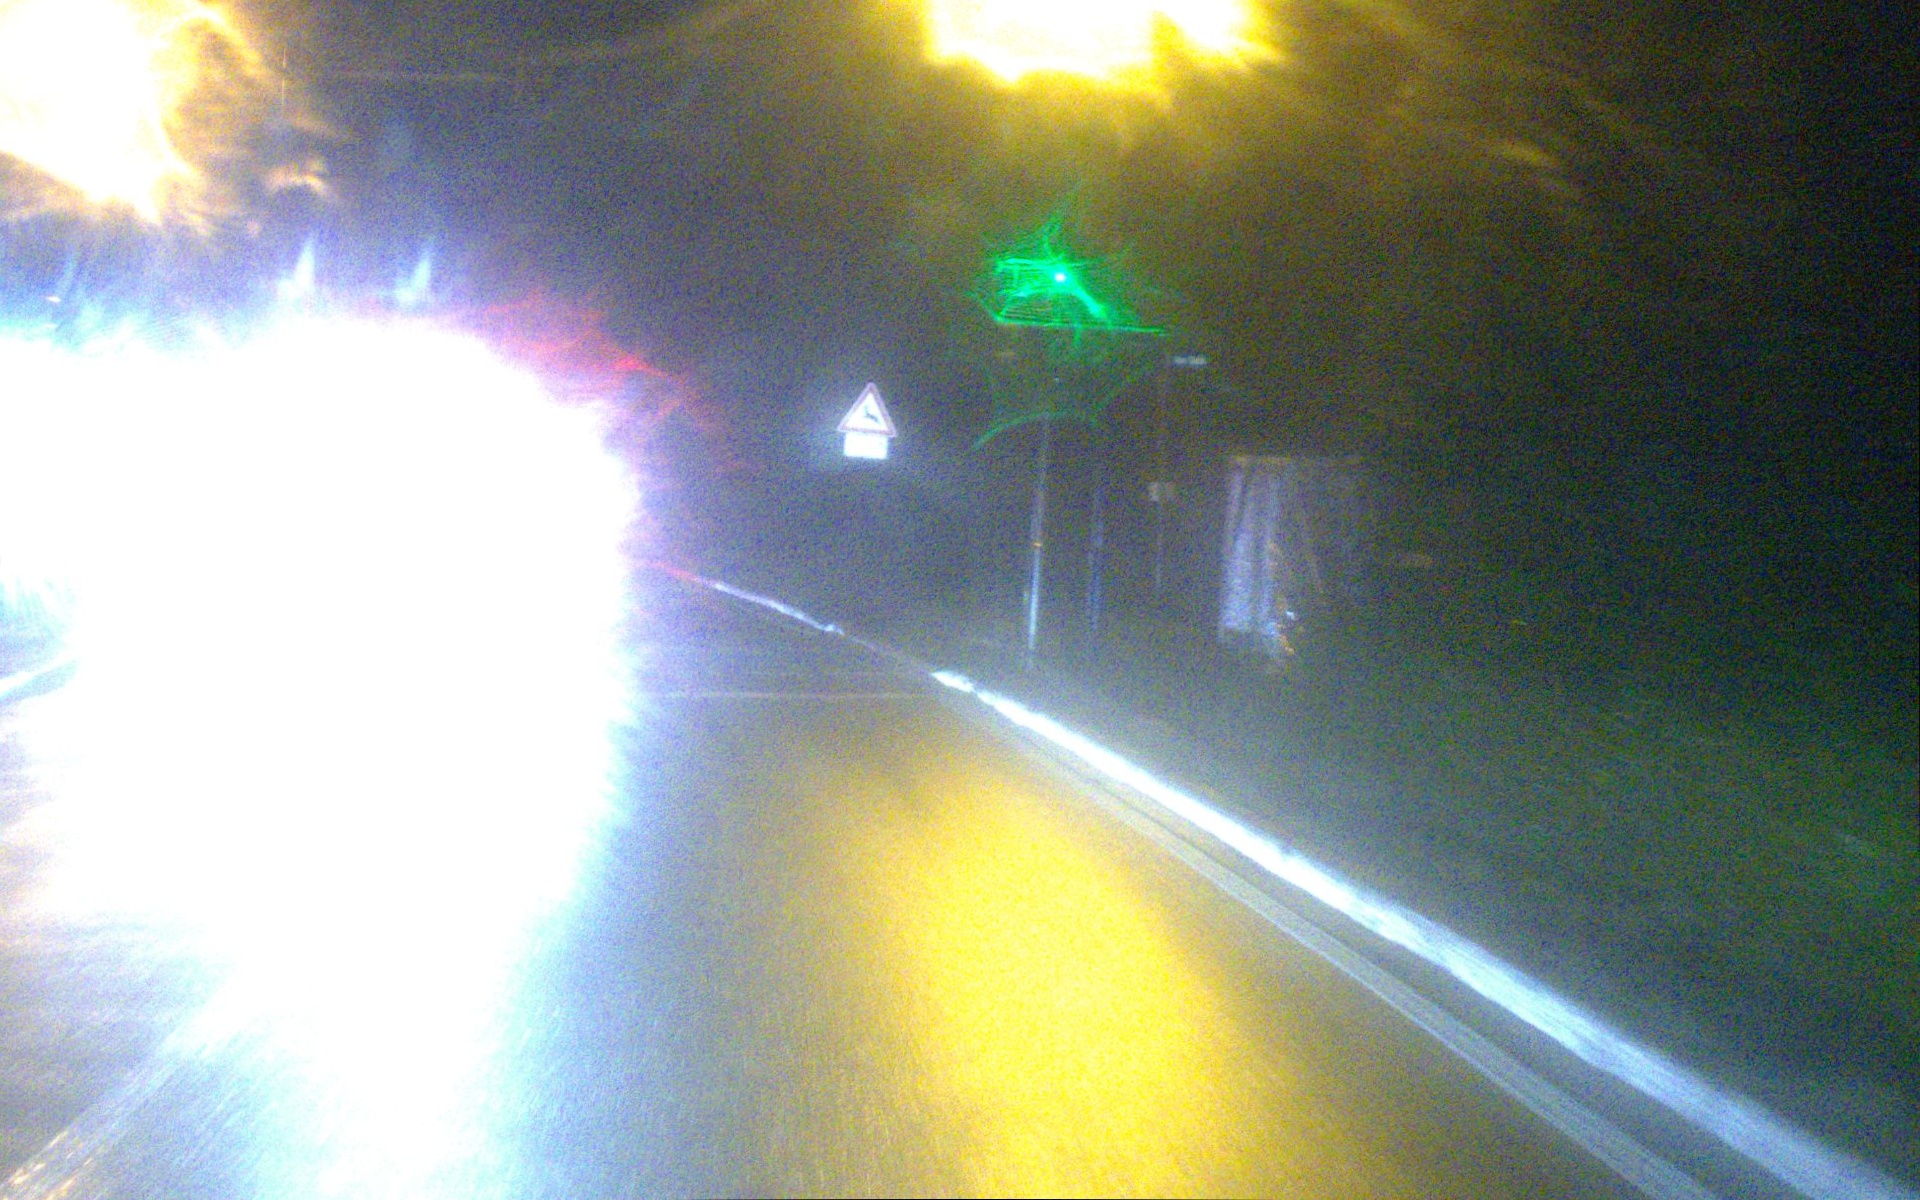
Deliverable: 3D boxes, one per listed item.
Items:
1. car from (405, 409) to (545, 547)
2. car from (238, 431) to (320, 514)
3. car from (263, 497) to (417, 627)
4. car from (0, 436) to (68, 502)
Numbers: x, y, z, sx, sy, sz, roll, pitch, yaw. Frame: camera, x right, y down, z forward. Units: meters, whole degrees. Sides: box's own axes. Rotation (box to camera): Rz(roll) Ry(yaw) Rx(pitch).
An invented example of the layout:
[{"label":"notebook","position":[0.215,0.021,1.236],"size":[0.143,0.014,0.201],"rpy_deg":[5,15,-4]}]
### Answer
[{"label":"car","position":[-9.403,-2.399,66.272],"size":[2.538,2.489,5.717],"rpy_deg":[0,3,-9]},{"label":"car","position":[-18.372,-3.399,92.648],"size":[1.993,2.007,4.001],"rpy_deg":[2,0,-13]},{"label":"car","position":[-7.654,-0.484,42.702],"size":[1.635,1.505,4.118],"rpy_deg":[-1,1,-7]},{"label":"car","position":[-30.599,-4.217,111.463],"size":[1.993,2.007,4.846],"rpy_deg":[2,0,-30]}]
